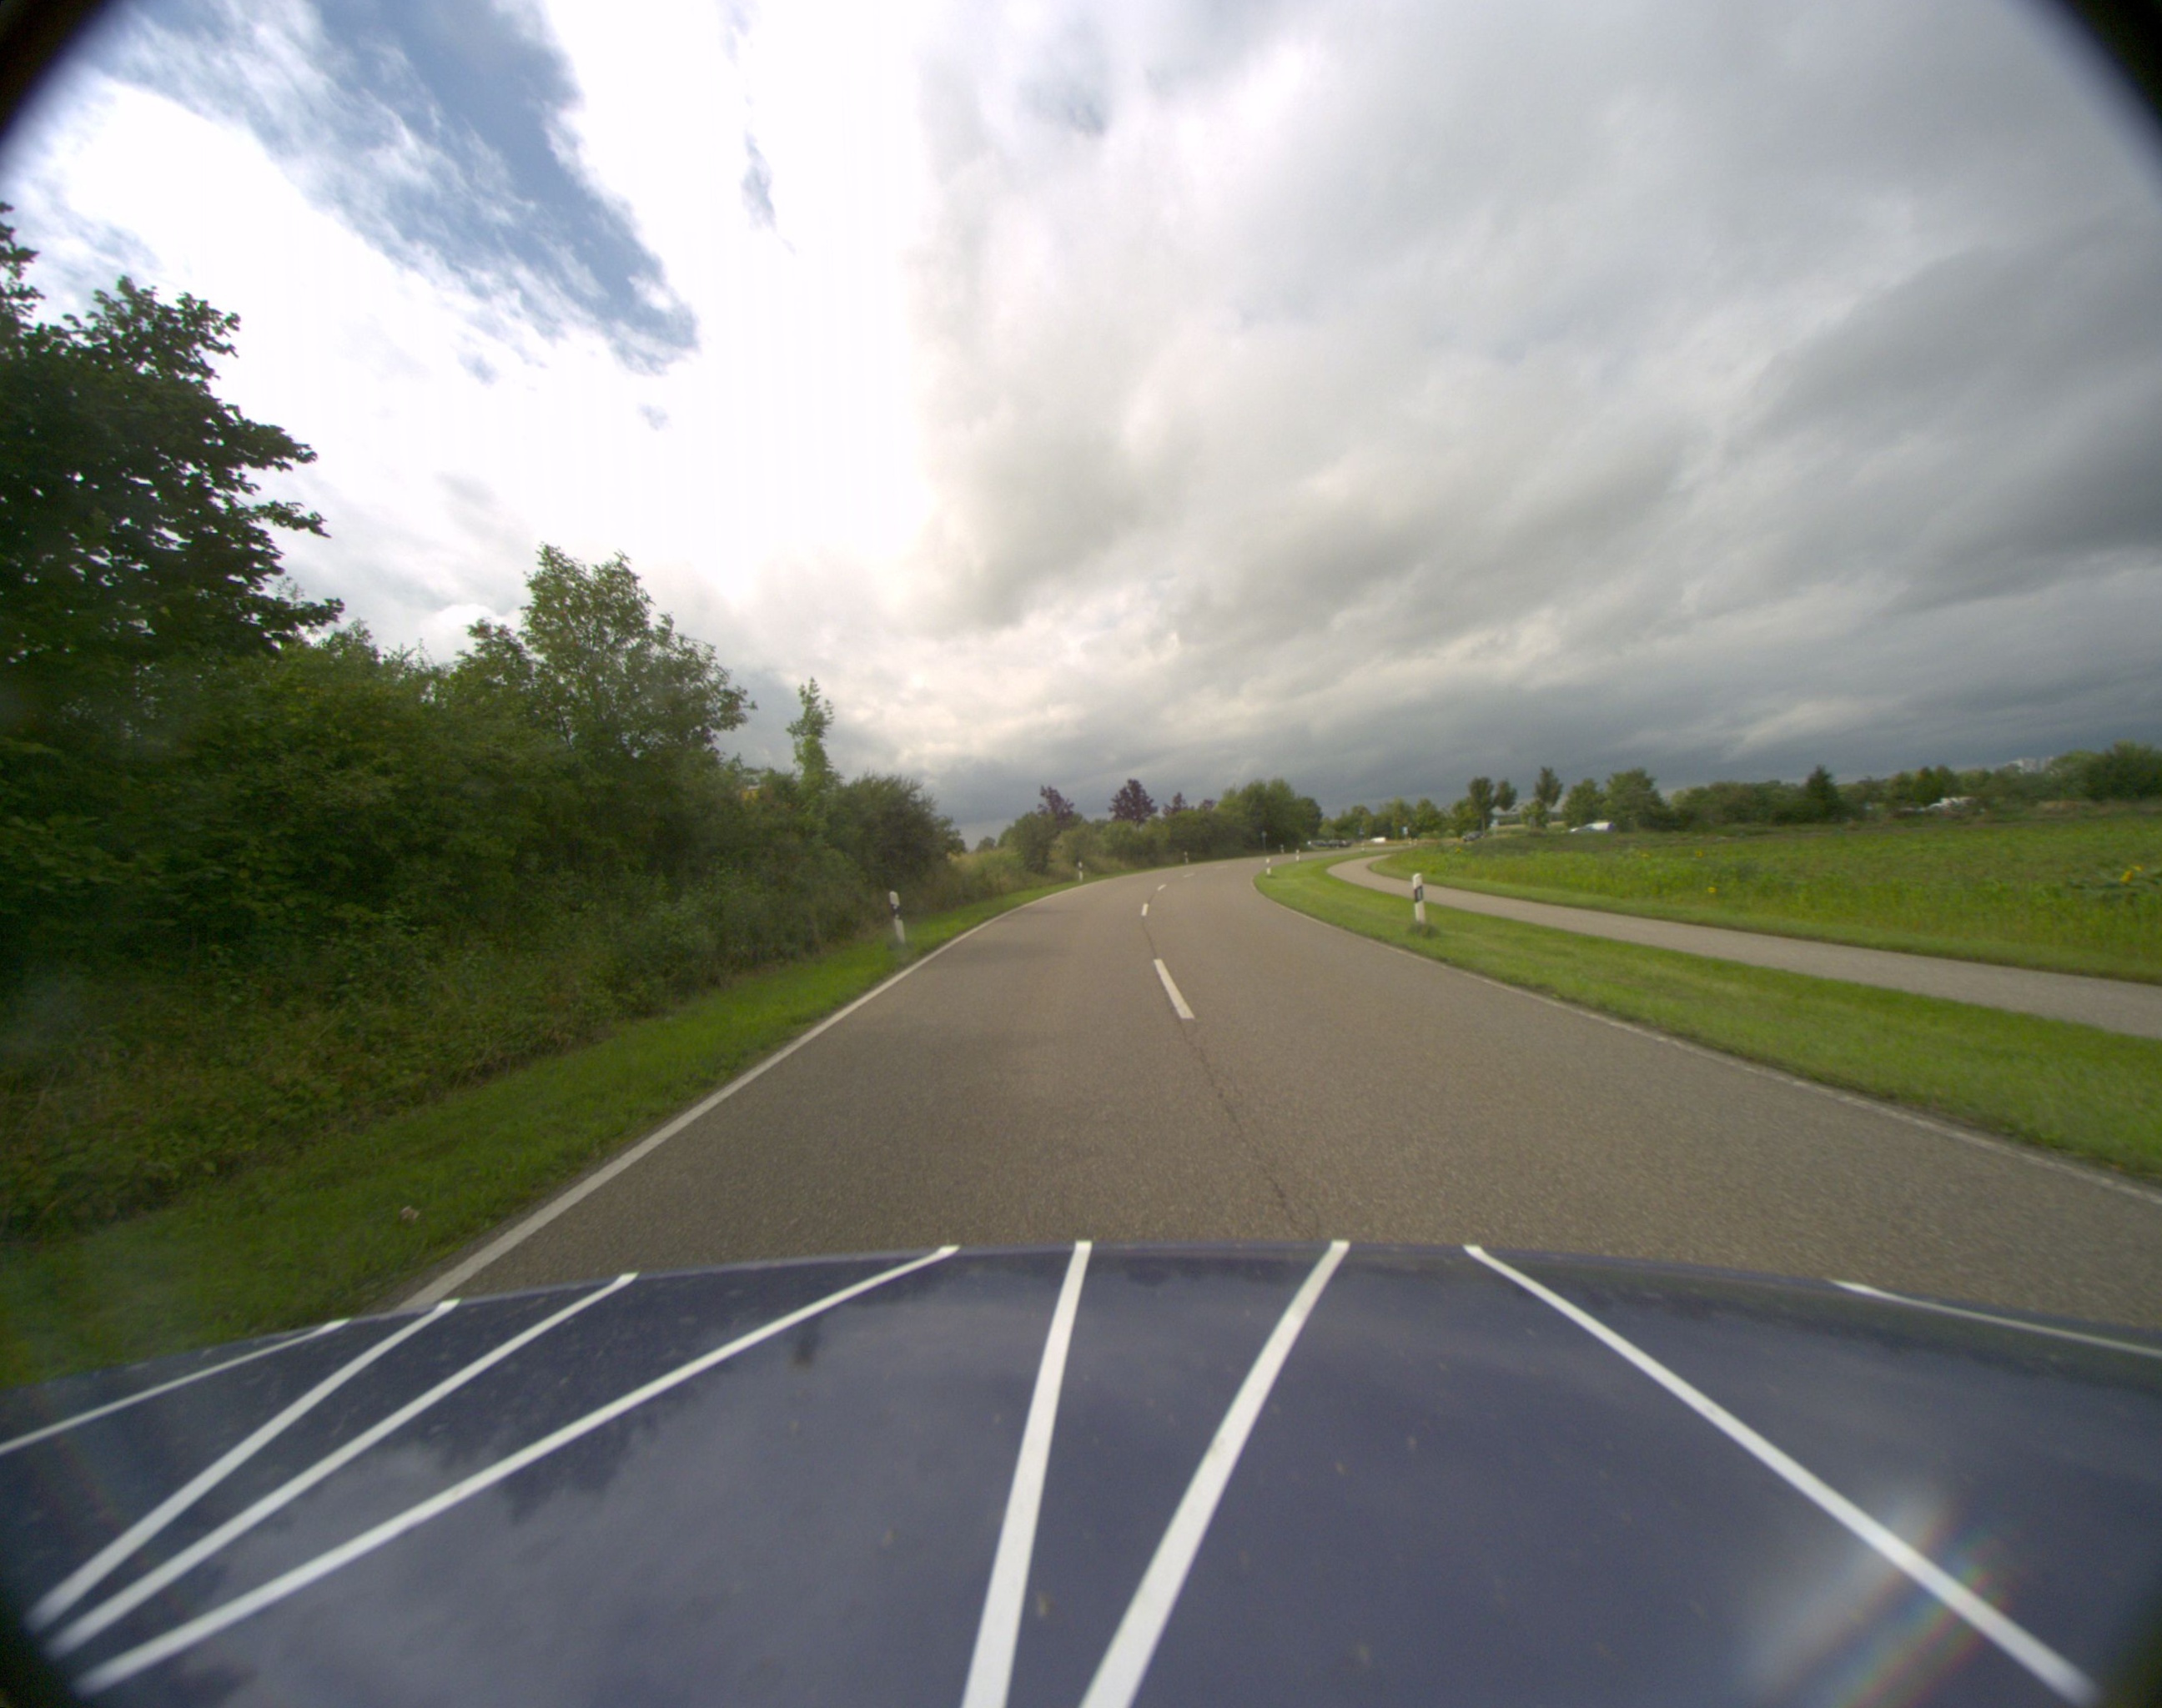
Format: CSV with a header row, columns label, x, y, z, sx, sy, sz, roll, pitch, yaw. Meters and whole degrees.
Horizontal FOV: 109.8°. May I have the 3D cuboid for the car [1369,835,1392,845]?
label,x,y,z,sx,sy,sz,roll,pitch,yaw
car,63.001,-2.852,159.974,3.989,1.849,2.004,-3,1,38

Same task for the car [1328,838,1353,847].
label,x,y,z,sx,sy,sz,roll,pitch,yaw
car,49.502,-2.185,144.741,3.999,1.496,2.055,-3,1,41

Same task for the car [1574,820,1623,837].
label,x,y,z,sx,sy,sz,roll,pitch,yaw
car,68.871,-3.379,101.114,2.060,2.002,4.897,-3,0,-39

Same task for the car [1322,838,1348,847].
label,x,y,z,sx,sy,sz,roll,pitch,yaw
car,47.423,-2.129,141.888,4.155,1.406,2.004,-3,0,35
